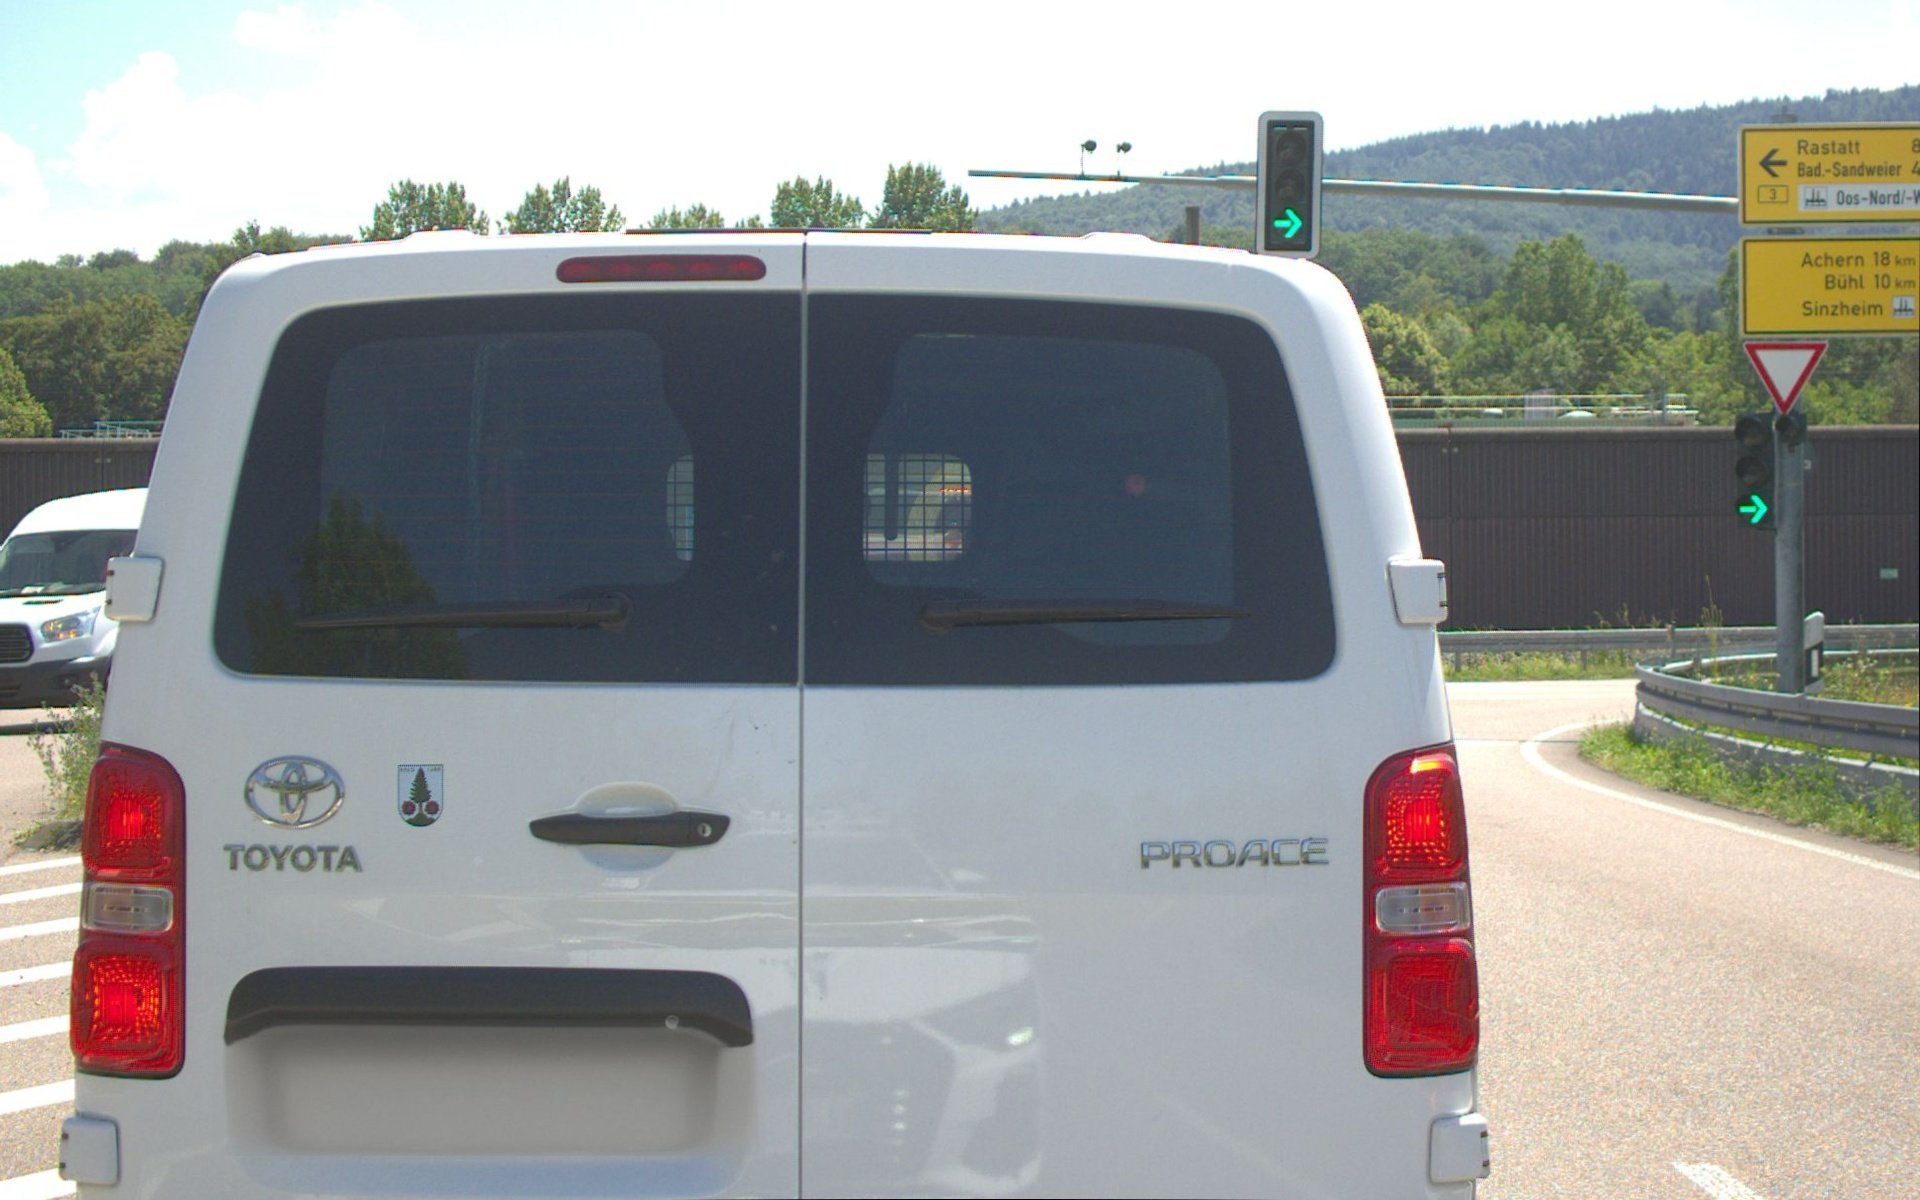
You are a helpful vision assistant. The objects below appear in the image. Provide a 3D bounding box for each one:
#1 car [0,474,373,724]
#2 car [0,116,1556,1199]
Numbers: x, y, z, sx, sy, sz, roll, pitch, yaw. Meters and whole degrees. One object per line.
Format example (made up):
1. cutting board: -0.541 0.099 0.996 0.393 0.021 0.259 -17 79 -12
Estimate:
1. car: -8.574 -0.065 36.148 1.996 2.408 5.583 -2 1 23
2. car: -0.255 0.439 5.913 1.814 2.011 4.000 0 1 -1
